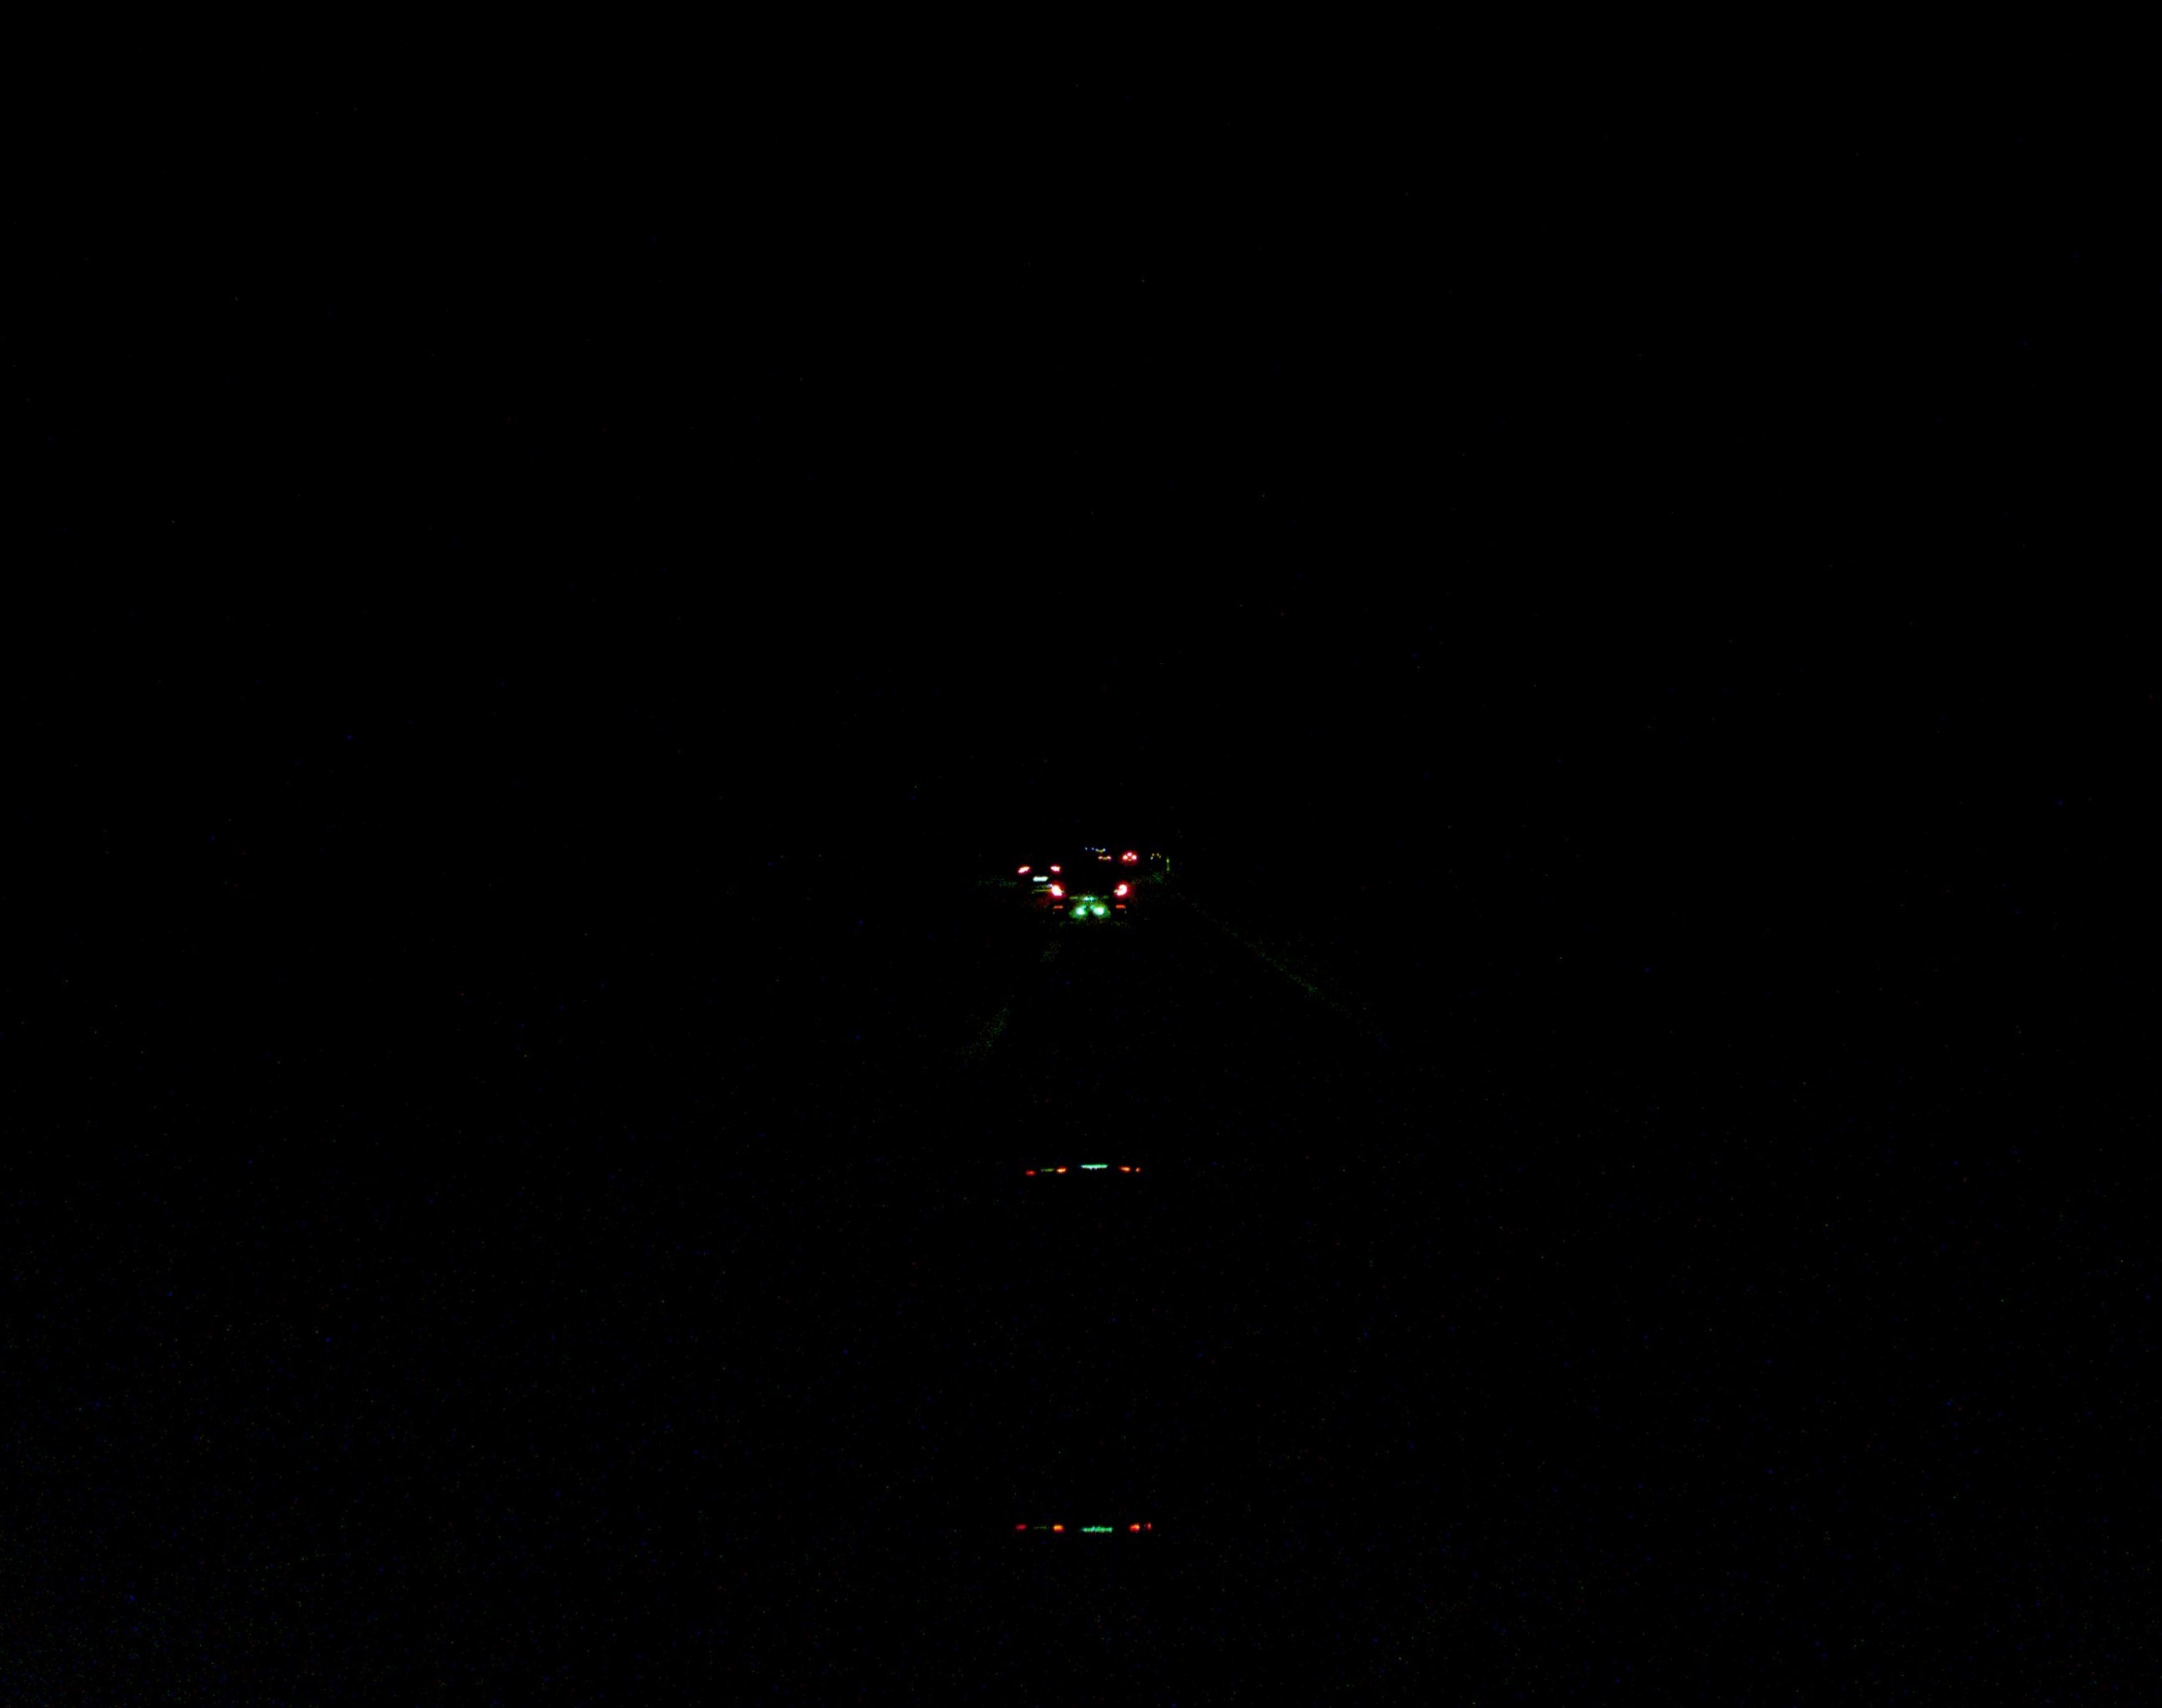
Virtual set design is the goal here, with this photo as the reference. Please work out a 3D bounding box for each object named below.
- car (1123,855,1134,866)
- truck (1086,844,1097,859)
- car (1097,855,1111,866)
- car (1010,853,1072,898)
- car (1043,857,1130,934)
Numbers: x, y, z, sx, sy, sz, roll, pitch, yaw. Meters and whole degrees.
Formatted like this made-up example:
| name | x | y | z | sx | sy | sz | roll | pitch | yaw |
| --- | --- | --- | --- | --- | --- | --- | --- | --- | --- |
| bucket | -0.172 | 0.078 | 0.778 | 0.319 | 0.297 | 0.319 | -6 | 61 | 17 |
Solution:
| name | x | y | z | sx | sy | sz | roll | pitch | yaw |
| --- | --- | --- | --- | --- | --- | --- | --- | --- | --- |
| car | 7.540 | 1.031 | 130.119 | 1.727 | 1.618 | 3.800 | -1 | 0 | 2 |
| truck | 2.968 | -0.684 | 227.889 | 2.663 | 4.177 | 5.876 | -1 | 0 | 5 |
| car | 3.521 | 0.996 | 124.730 | 1.943 | 1.538 | 4.244 | -5 | -2 | 3 |
| car | -1.469 | 0.771 | 31.640 | 1.932 | 1.608 | 4.647 | -1 | 0 | 3 |
| car | 0.080 | 0.822 | 17.773 | 1.686 | 1.478 | 3.998 | 0 | 0 | -1 |
